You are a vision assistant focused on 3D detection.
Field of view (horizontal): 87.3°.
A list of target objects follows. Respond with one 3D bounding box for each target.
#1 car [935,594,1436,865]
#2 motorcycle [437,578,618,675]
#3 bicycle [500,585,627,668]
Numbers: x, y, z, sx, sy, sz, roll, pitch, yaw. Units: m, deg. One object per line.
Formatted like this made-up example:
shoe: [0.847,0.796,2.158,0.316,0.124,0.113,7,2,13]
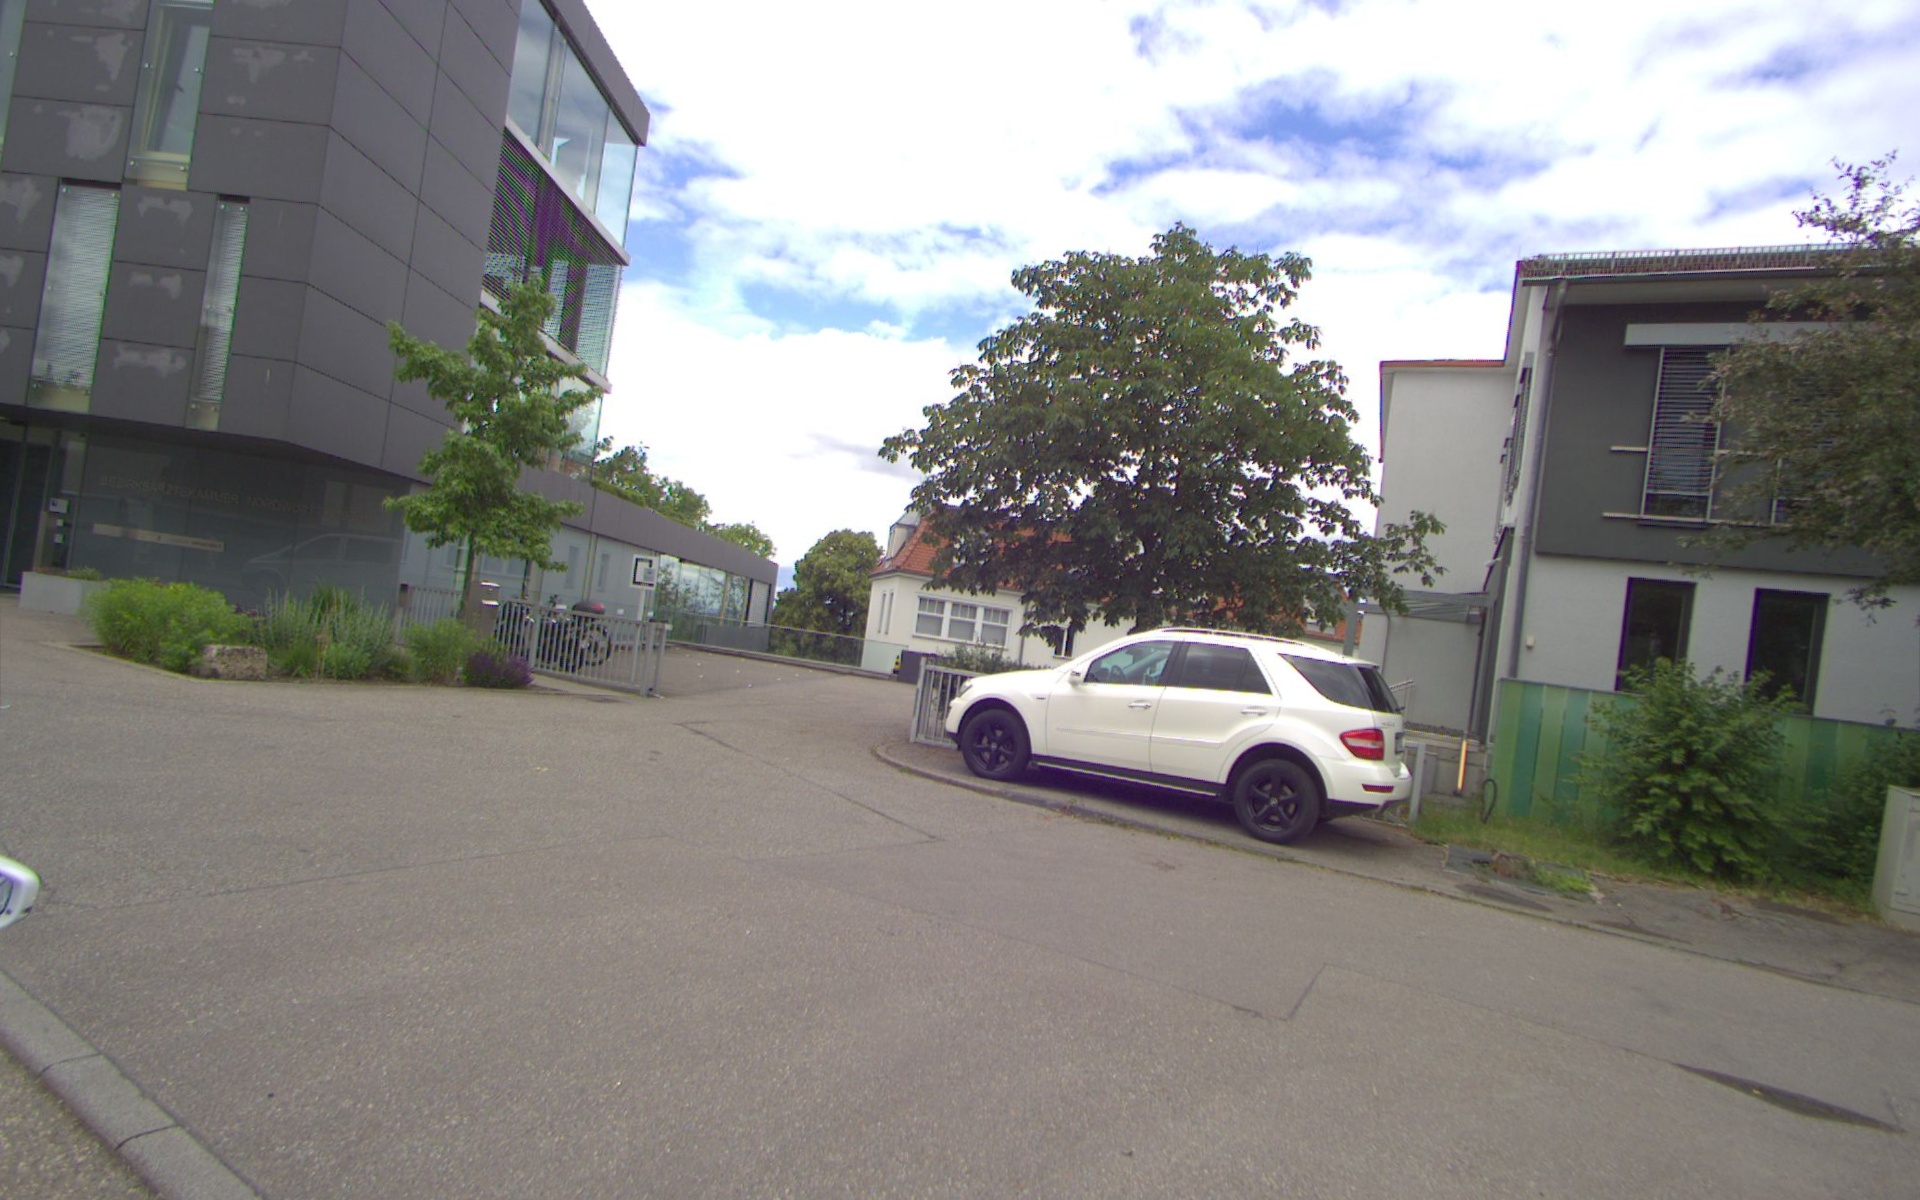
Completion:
car: [2.227,1.132,10.245,4.442,1.860,1.996,6,-1,31]
motorcycle: [-7.393,0.457,17.257,2.643,1.275,0.850,8,-1,5]
bicycle: [-7.516,0.513,19.105,2.063,1.275,0.616,8,-1,5]
